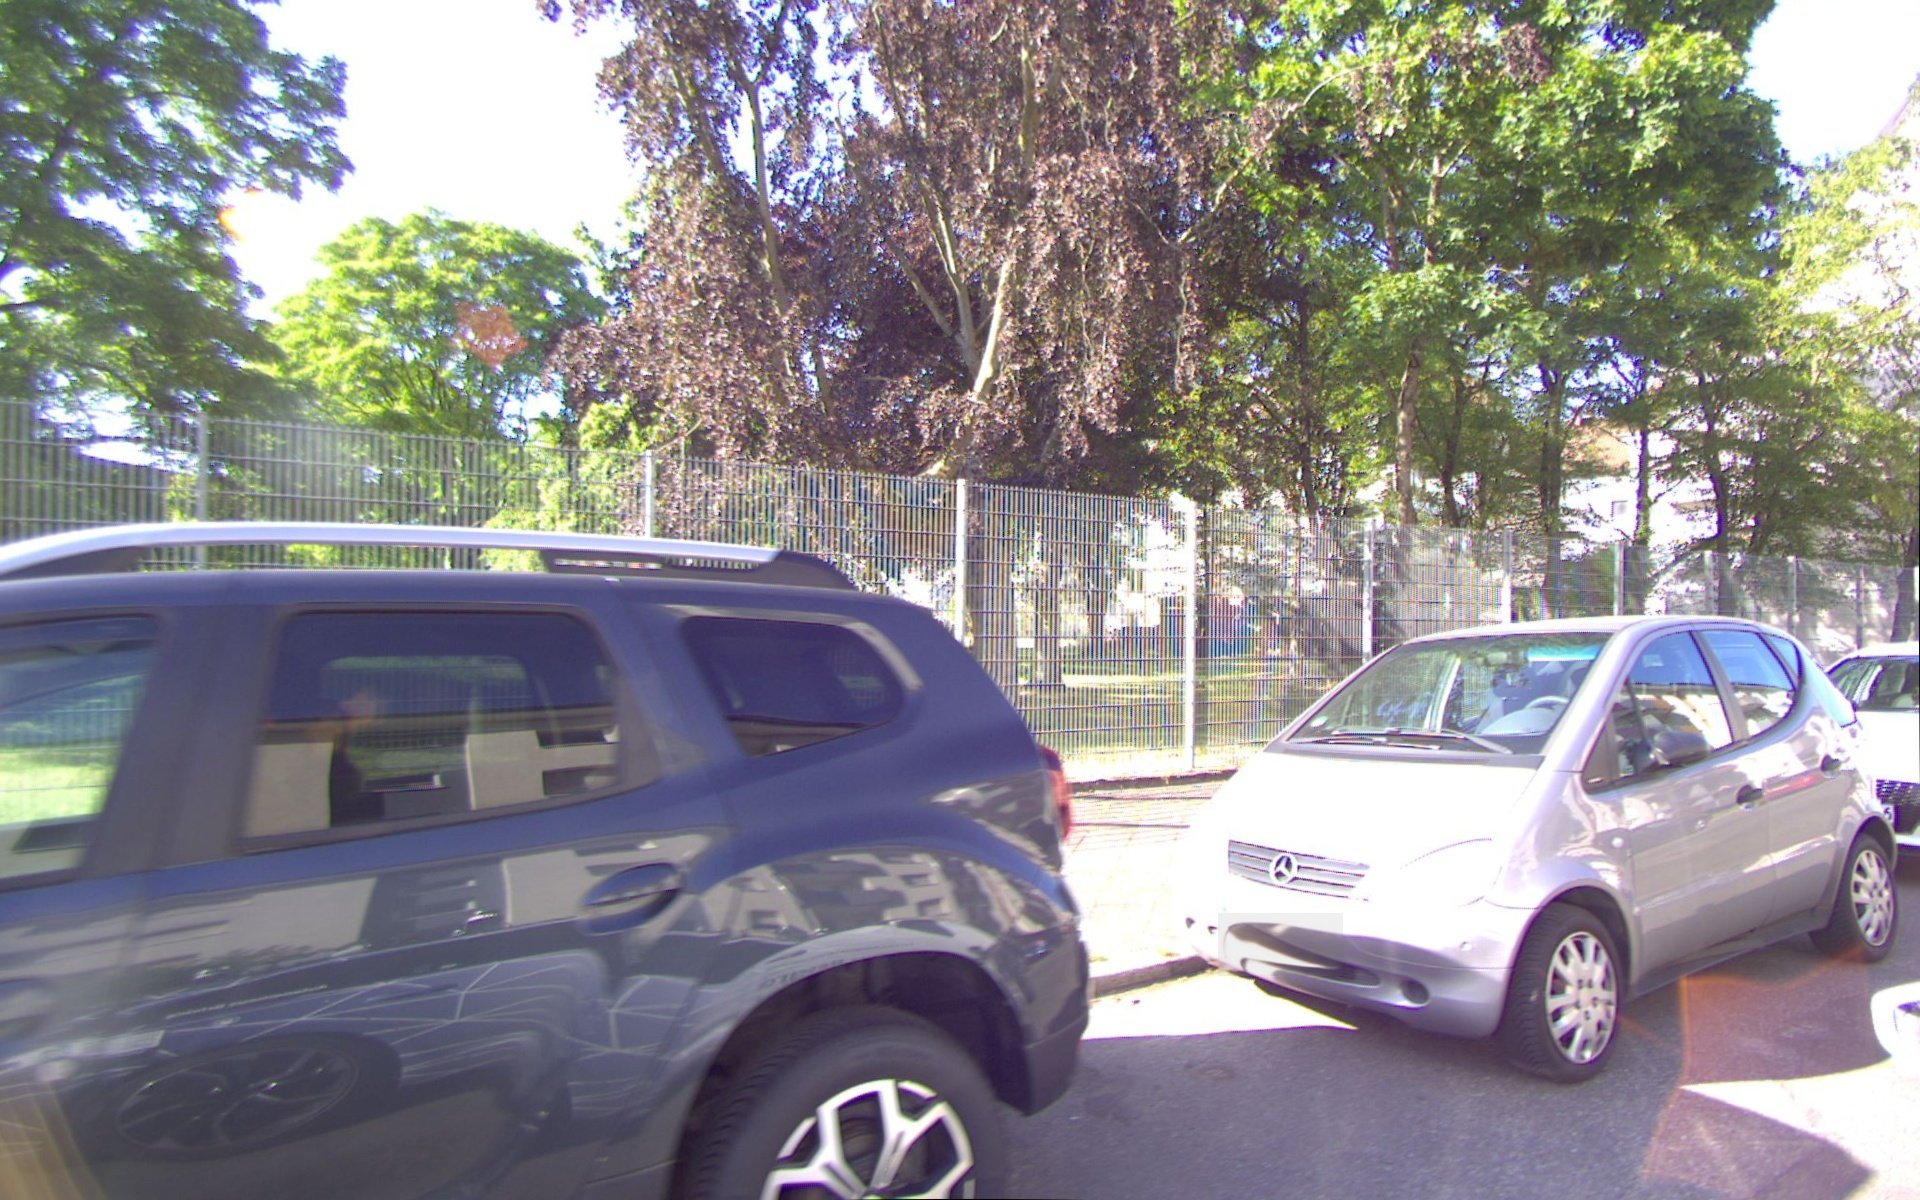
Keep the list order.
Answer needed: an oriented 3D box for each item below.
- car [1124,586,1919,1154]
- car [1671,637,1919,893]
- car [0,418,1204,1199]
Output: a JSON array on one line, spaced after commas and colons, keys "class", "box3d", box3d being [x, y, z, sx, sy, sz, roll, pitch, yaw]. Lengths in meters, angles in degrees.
[{"class": "car", "box3d": [2.653, 0.887, 4.576, 3.573, 1.664, 1.557, 1, -5, -31]}, {"class": "car", "box3d": [7.093, 1.005, 7.113, 4.070, 1.463, 1.786, 1, -3, -30]}, {"class": "car", "box3d": [-1.630, 0.657, 2.082, 4.116, 1.685, 1.705, 1, -4, -31]}]
